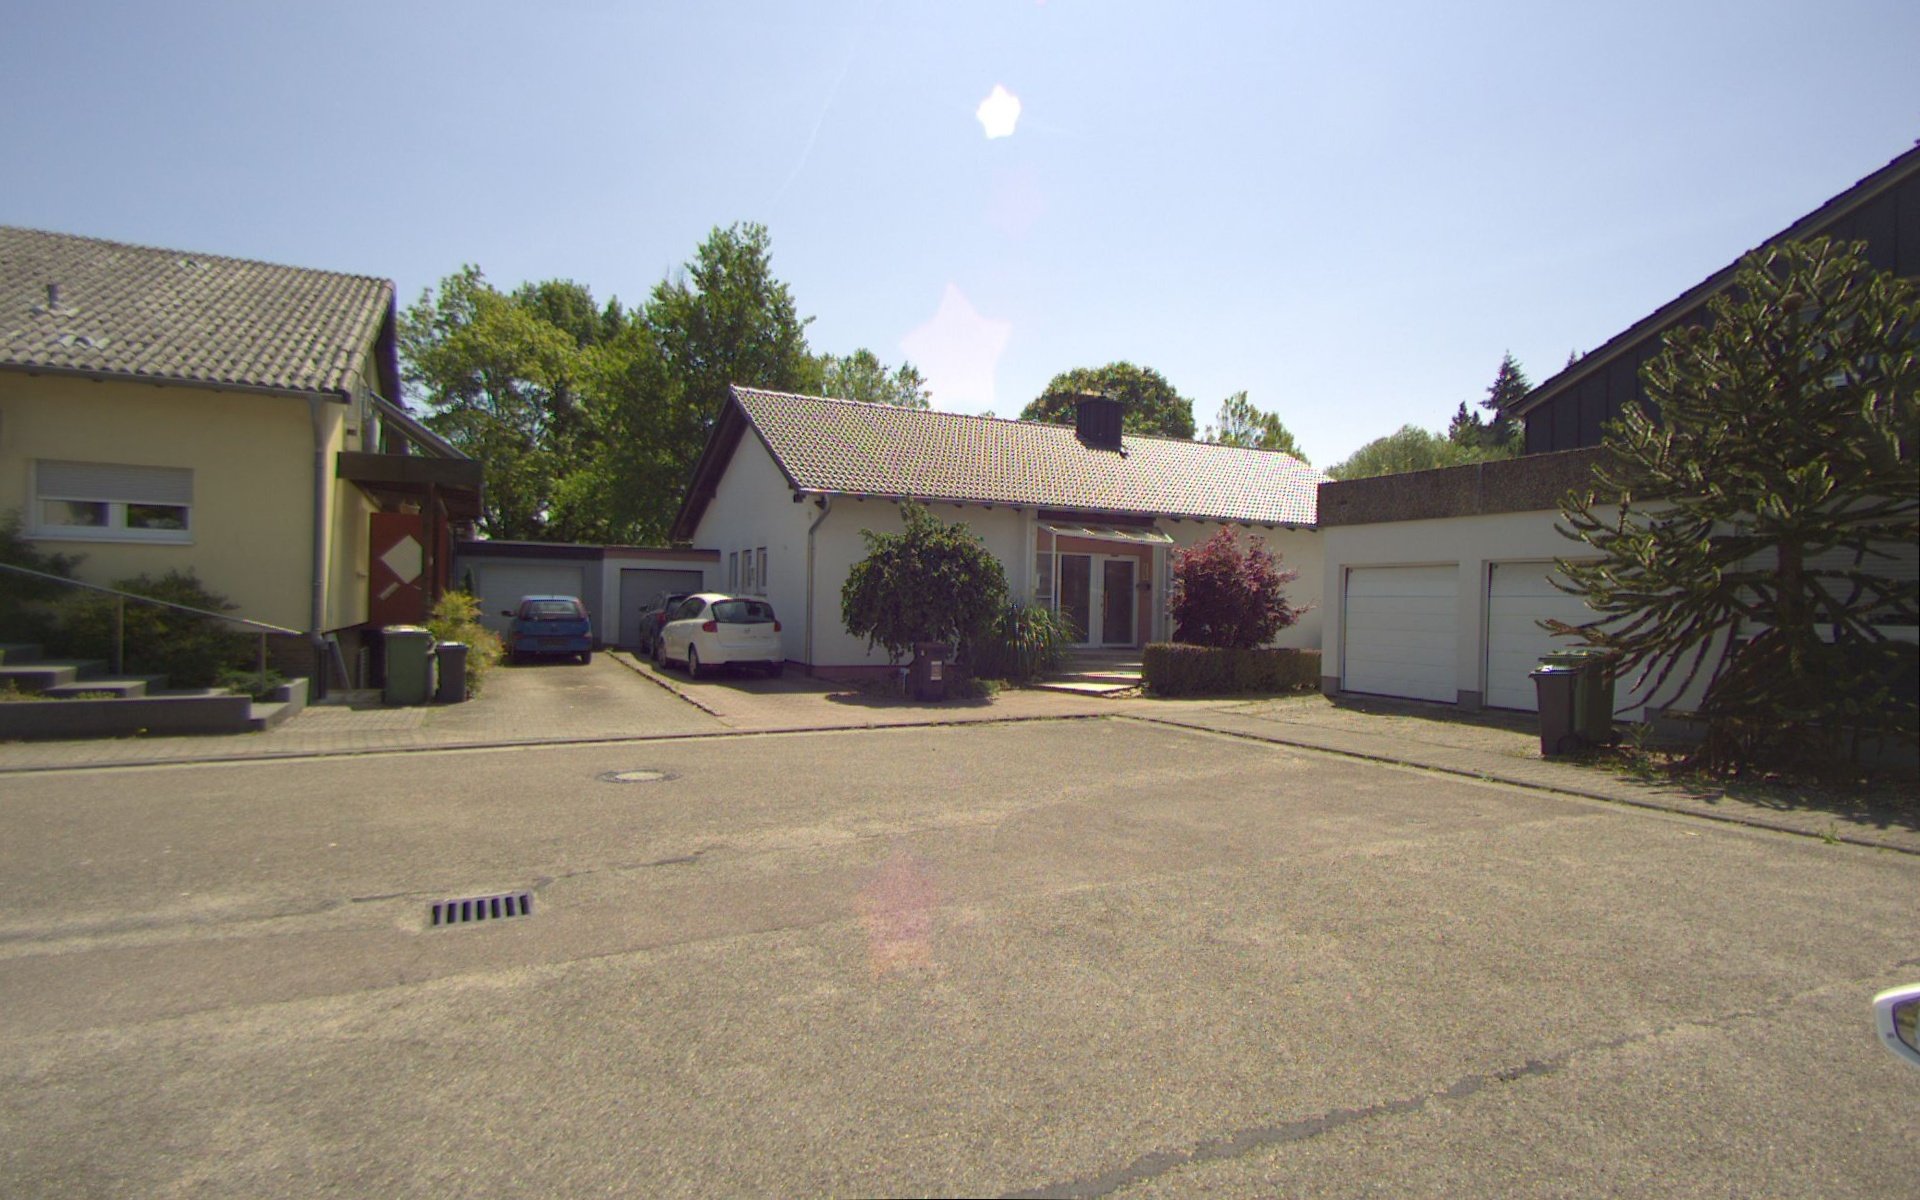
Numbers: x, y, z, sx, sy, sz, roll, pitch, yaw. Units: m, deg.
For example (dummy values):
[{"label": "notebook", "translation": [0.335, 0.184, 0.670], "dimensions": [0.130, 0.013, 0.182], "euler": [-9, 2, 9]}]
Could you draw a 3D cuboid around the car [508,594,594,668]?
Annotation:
[{"label": "car", "translation": [-9.272, 0.661, 22.654], "dimensions": [1.598, 1.474, 3.232], "euler": [1, 1, -26]}]

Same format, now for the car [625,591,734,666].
[{"label": "car", "translation": [-6.865, 0.610, 24.332], "dimensions": [1.903, 1.629, 3.974], "euler": [0, 1, -25]}]

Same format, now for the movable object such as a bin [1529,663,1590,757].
[{"label": "movable object such as a bin", "translation": [6.565, 1.194, 11.002], "dimensions": [0.516, 0.962, 0.387], "euler": [1, 0, 38]}]

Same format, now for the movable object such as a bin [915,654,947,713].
[{"label": "movable object such as a bin", "translation": [-0.463, 1.319, 15.922], "dimensions": [0.370, 0.903, 0.388], "euler": [0, 0, -27]}]

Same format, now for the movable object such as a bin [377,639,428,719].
[{"label": "movable object such as a bin", "translation": [-7.766, 1.089, 13.989], "dimensions": [0.586, 1.055, 0.487], "euler": [0, 0, -34]}]

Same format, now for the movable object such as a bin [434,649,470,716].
[{"label": "movable object such as a bin", "translation": [-7.227, 1.167, 14.285], "dimensions": [0.403, 0.903, 0.422], "euler": [0, 0, -34]}]

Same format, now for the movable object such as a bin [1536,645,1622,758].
[{"label": "movable object such as a bin", "translation": [7.074, 1.138, 11.489], "dimensions": [0.544, 1.219, 0.630], "euler": [1, 0, -25]}]

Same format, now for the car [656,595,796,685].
[{"label": "car", "translation": [-4.773, 0.714, 20.089], "dimensions": [1.731, 1.589, 3.969], "euler": [1, 0, -29]}]
